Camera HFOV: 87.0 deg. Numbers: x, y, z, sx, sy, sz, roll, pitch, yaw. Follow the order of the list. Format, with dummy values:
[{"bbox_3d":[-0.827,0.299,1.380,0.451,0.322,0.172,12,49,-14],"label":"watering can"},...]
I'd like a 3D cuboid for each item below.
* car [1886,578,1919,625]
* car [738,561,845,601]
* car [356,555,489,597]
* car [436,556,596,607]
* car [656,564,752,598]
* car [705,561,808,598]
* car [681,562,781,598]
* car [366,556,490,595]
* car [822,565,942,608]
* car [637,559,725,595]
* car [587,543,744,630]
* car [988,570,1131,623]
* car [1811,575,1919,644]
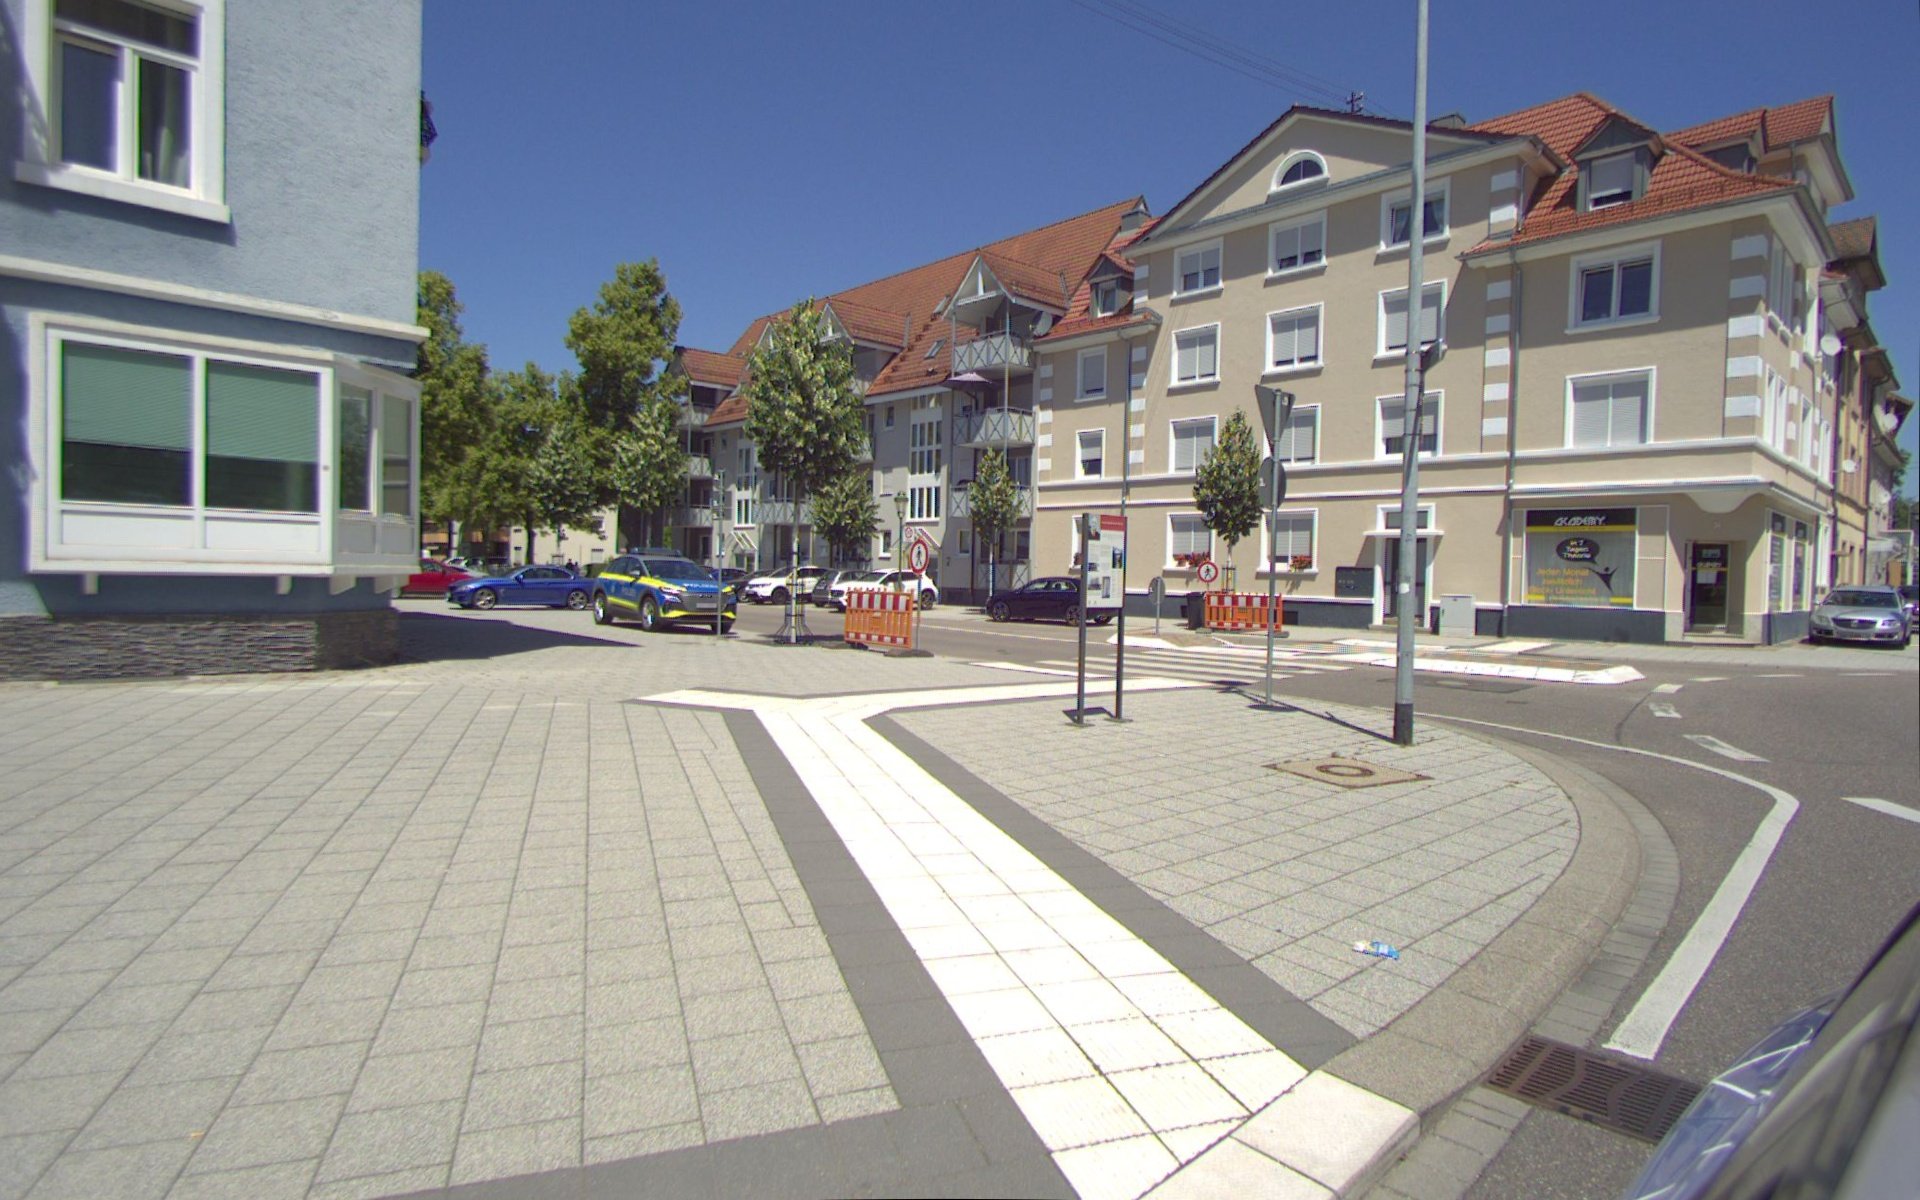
[{"bbox_3d":[31.680,0.049,32.888,3.930,1.427,1.825,-1,4,-41],"label":"car"},{"bbox_3d":[-7.069,-0.835,42.638,4.174,1.548,1.760,-2,3,-40],"label":"car"},{"bbox_3d":[-20.405,-0.893,38.485,4.173,1.439,1.760,1,1,-41],"label":"car"},{"bbox_3d":[-13.630,-0.553,31.193,4.173,1.439,1.760,1,1,-41],"label":"car"},{"bbox_3d":[-12.349,-0.964,48.939,4.174,1.548,1.760,-2,3,-40],"label":"car"},{"bbox_3d":[-8.947,-0.945,44.651,4.174,1.548,1.760,-2,3,-40],"label":"car"},{"bbox_3d":[-10.495,-0.955,46.614,4.174,1.548,1.760,-2,3,-40],"label":"car"},{"bbox_3d":[-21.597,-0.966,41.145,4.173,1.439,1.760,1,1,-41],"label":"car"},{"bbox_3d":[-2.833,-0.533,37.190,4.174,1.463,1.808,-2,3,-40],"label":"car"},{"bbox_3d":[-14.090,-1.149,51.215,3.930,1.766,1.808,-1,0,-41],"label":"car"},{"bbox_3d":[-6.537,-0.324,22.198,1.731,1.720,4.243,1,1,-40],"label":"car"},{"bbox_3d":[2.986,-0.159,30.758,3.981,1.463,1.872,2,3,40],"label":"car"},{"bbox_3d":[22.628,0.169,24.978,3.931,1.427,1.825,-2,5,-41],"label":"car"}]
